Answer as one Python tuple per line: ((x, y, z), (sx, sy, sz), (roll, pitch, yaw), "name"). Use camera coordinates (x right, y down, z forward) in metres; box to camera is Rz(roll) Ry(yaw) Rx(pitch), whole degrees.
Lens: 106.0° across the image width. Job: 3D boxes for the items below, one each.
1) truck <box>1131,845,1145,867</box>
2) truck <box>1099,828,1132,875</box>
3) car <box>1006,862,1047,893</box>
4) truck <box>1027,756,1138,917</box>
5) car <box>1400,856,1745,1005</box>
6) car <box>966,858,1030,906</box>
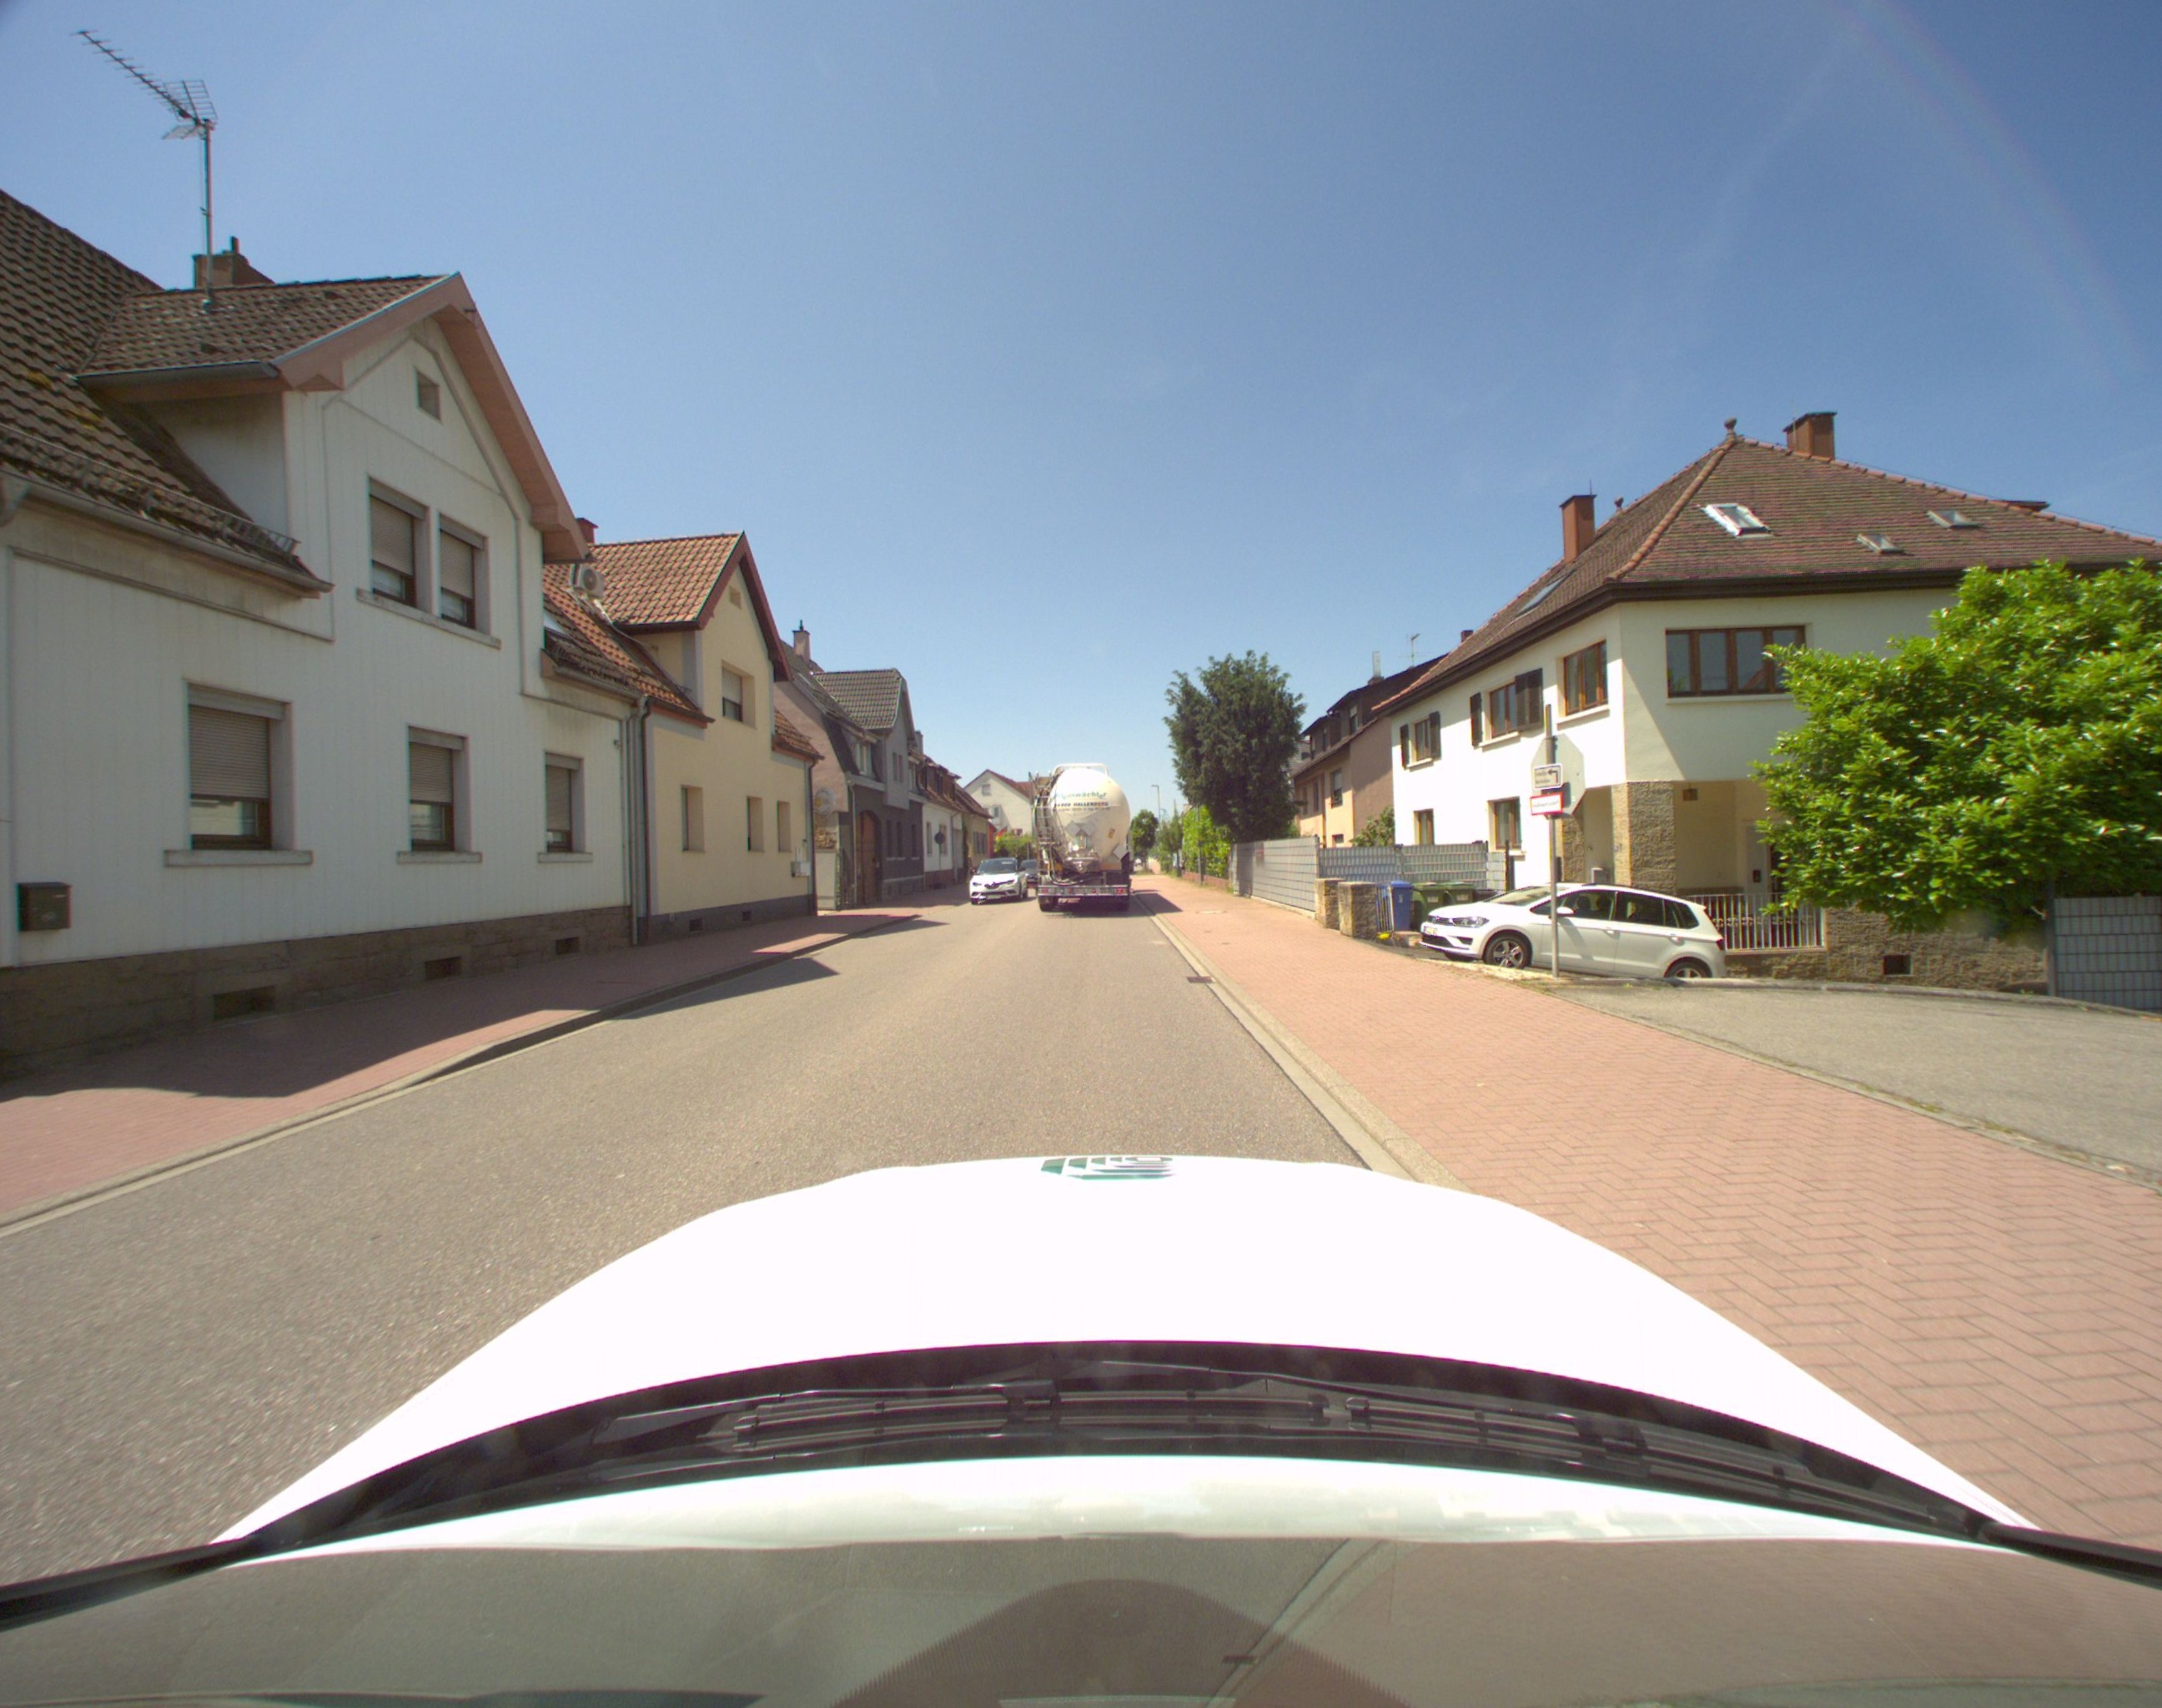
((8.790, 0.307, 125.153), (1.985, 3.137, 9.458), (0, 0, 4), "truck")
((3.184, -0.192, 73.319), (2.720, 3.960, 8.150), (0, -1, 4), "truck")
((-2.946, 1.248, 44.725), (1.845, 1.506, 4.104), (-4, -1, 0), "car")
((0.079, -0.380, 24.186), (2.723, 3.960, 8.141), (0, -1, 1), "truck")
((7.572, 1.123, 12.879), (4.155, 1.587, 1.907), (8, 0, 1), "car")
((-3.073, 1.011, 30.926), (1.845, 1.571, 4.254), (-4, -1, 1), "car")
